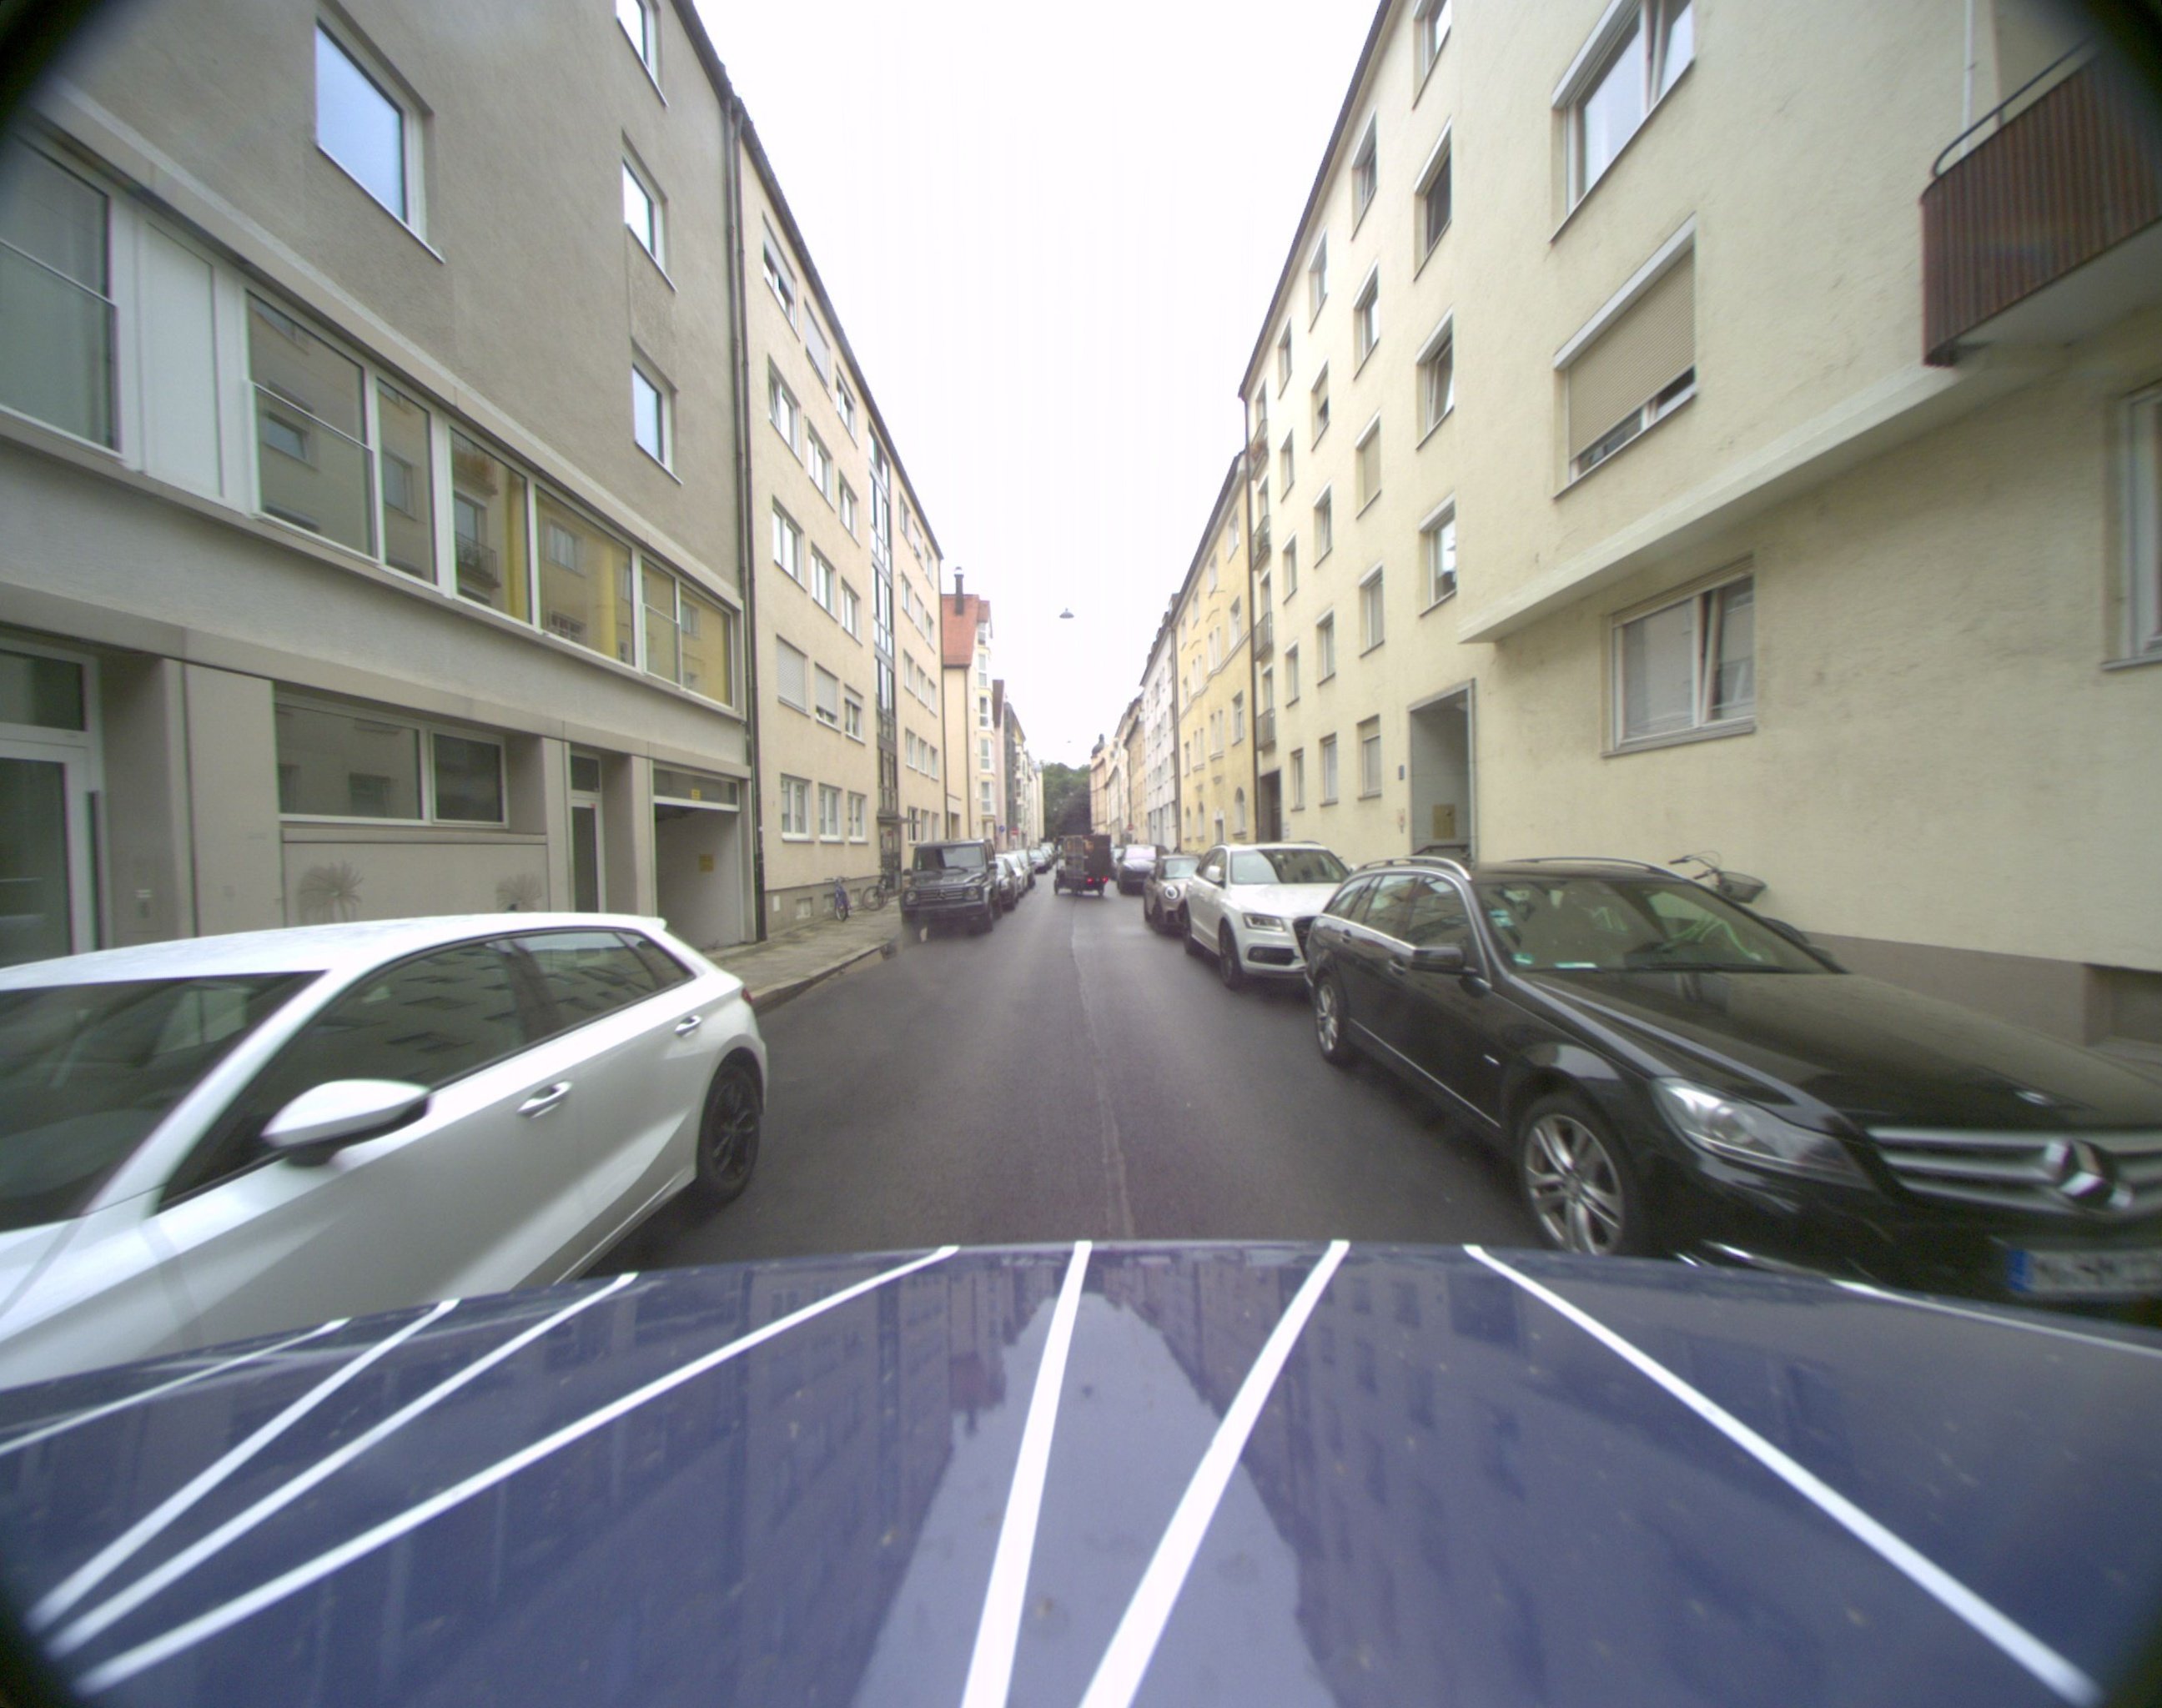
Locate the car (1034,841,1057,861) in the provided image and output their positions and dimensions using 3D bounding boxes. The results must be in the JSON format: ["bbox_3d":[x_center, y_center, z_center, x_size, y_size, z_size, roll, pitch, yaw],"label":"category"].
[{"bbox_3d":[-3.096,-0.291,67.177,1.837,1.612,4.409,-3,1,-2],"label":"car"}]

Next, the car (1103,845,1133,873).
[{"bbox_3d":[2.049,0.256,42.931,1.566,1.452,3.403,-1,1,1],"label":"car"}]

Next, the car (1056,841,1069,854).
[{"bbox_3d":[-2.678,-0.991,110.931,1.739,1.743,3.685,-3,1,-1],"label":"car"}]

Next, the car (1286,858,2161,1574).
[{"bbox_3d":[2.494,0.827,3.886,1.770,1.475,4.423,-1,1,1],"label":"car"}]

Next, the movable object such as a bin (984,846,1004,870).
[{"bbox_3d":[-5.372,0.249,47.052,1.035,1.415,1.586,0,2,0],"label":"movable object such as a bin"}]

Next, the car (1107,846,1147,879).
[{"bbox_3d":[2.172,0.387,36.790,1.567,1.452,3.762,-1,1,-2],"label":"car"}]

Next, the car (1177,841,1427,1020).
[{"bbox_3d":[2.395,0.697,9.447,1.770,1.666,4.366,-1,1,-1],"label":"car"}]

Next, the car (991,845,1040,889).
[{"bbox_3d":[-2.715,0.495,32.218,1.716,1.599,4.242,-3,1,-1],"label":"car"}]

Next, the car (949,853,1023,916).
[{"bbox_3d":[-2.660,0.793,22.117,1.716,1.477,4.242,-3,1,-2],"label":"car"}]

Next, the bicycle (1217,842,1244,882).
[{"bbox_3d":[5.237,0.260,26.671,0.536,1.272,1.551,-4,3,-1],"label":"bicycle"}]

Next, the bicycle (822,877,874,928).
[{"bbox_3d":[-5.413,1.099,17.742,0.646,1.023,1.796,2,1,-1],"label":"bicycle"}]

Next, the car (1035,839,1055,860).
[{"bbox_3d":[-3.655,-0.500,77.856,1.878,2.002,5.104,-3,2,-1],"label":"car"}]

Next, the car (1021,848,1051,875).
[{"bbox_3d":[-2.826,0.443,47.987,1.721,1.463,4.529,-3,1,-3],"label":"car"}]

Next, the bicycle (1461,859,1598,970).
[{"bbox_3d":[5.301,0.667,9.123,0.582,1.155,1.789,0,1,0],"label":"bicycle"}]

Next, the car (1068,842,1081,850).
[{"bbox_3d":[-1.319,-1.689,153.866,1.800,1.502,3.995,0,1,-12],"label":"car"}]

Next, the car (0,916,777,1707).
[{"bbox_3d":[-2.479,1.076,1.868,1.823,1.400,3.951,-3,1,0],"label":"car"}]

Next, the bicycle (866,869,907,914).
[{"bbox_3d":[-5.309,0.997,20.846,0.656,1.100,1.760,2,1,-1],"label":"bicycle"}]

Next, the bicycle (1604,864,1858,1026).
[{"bbox_3d":[5.459,0.695,6.560,0.647,1.155,1.789,0,1,0],"label":"bicycle"}]

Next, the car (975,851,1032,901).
[{"bbox_3d":[-2.704,0.723,27.280,1.716,1.477,4.242,-3,1,-2],"label":"car"}]

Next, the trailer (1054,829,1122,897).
[{"bbox_3d":[0.163,0.250,25.479,1.360,2.104,3.313,-3,2,-15],"label":"trailer"}]

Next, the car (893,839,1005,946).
[{"bbox_3d":[-2.782,0.734,16.977,1.755,1.964,4.341,-4,1,-2],"label":"car"}]

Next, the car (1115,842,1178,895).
[{"bbox_3d":[2.210,0.445,26.615,1.884,1.650,4.414,-1,1,1],"label":"car"}]

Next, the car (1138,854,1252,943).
[{"bbox_3d":[2.094,0.757,14.924,1.656,1.427,3.802,-1,1,0],"label":"car"}]

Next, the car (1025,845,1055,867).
[{"bbox_3d":[-2.849,0.107,53.423,1.837,1.398,4.410,-3,1,0],"label":"car"}]
